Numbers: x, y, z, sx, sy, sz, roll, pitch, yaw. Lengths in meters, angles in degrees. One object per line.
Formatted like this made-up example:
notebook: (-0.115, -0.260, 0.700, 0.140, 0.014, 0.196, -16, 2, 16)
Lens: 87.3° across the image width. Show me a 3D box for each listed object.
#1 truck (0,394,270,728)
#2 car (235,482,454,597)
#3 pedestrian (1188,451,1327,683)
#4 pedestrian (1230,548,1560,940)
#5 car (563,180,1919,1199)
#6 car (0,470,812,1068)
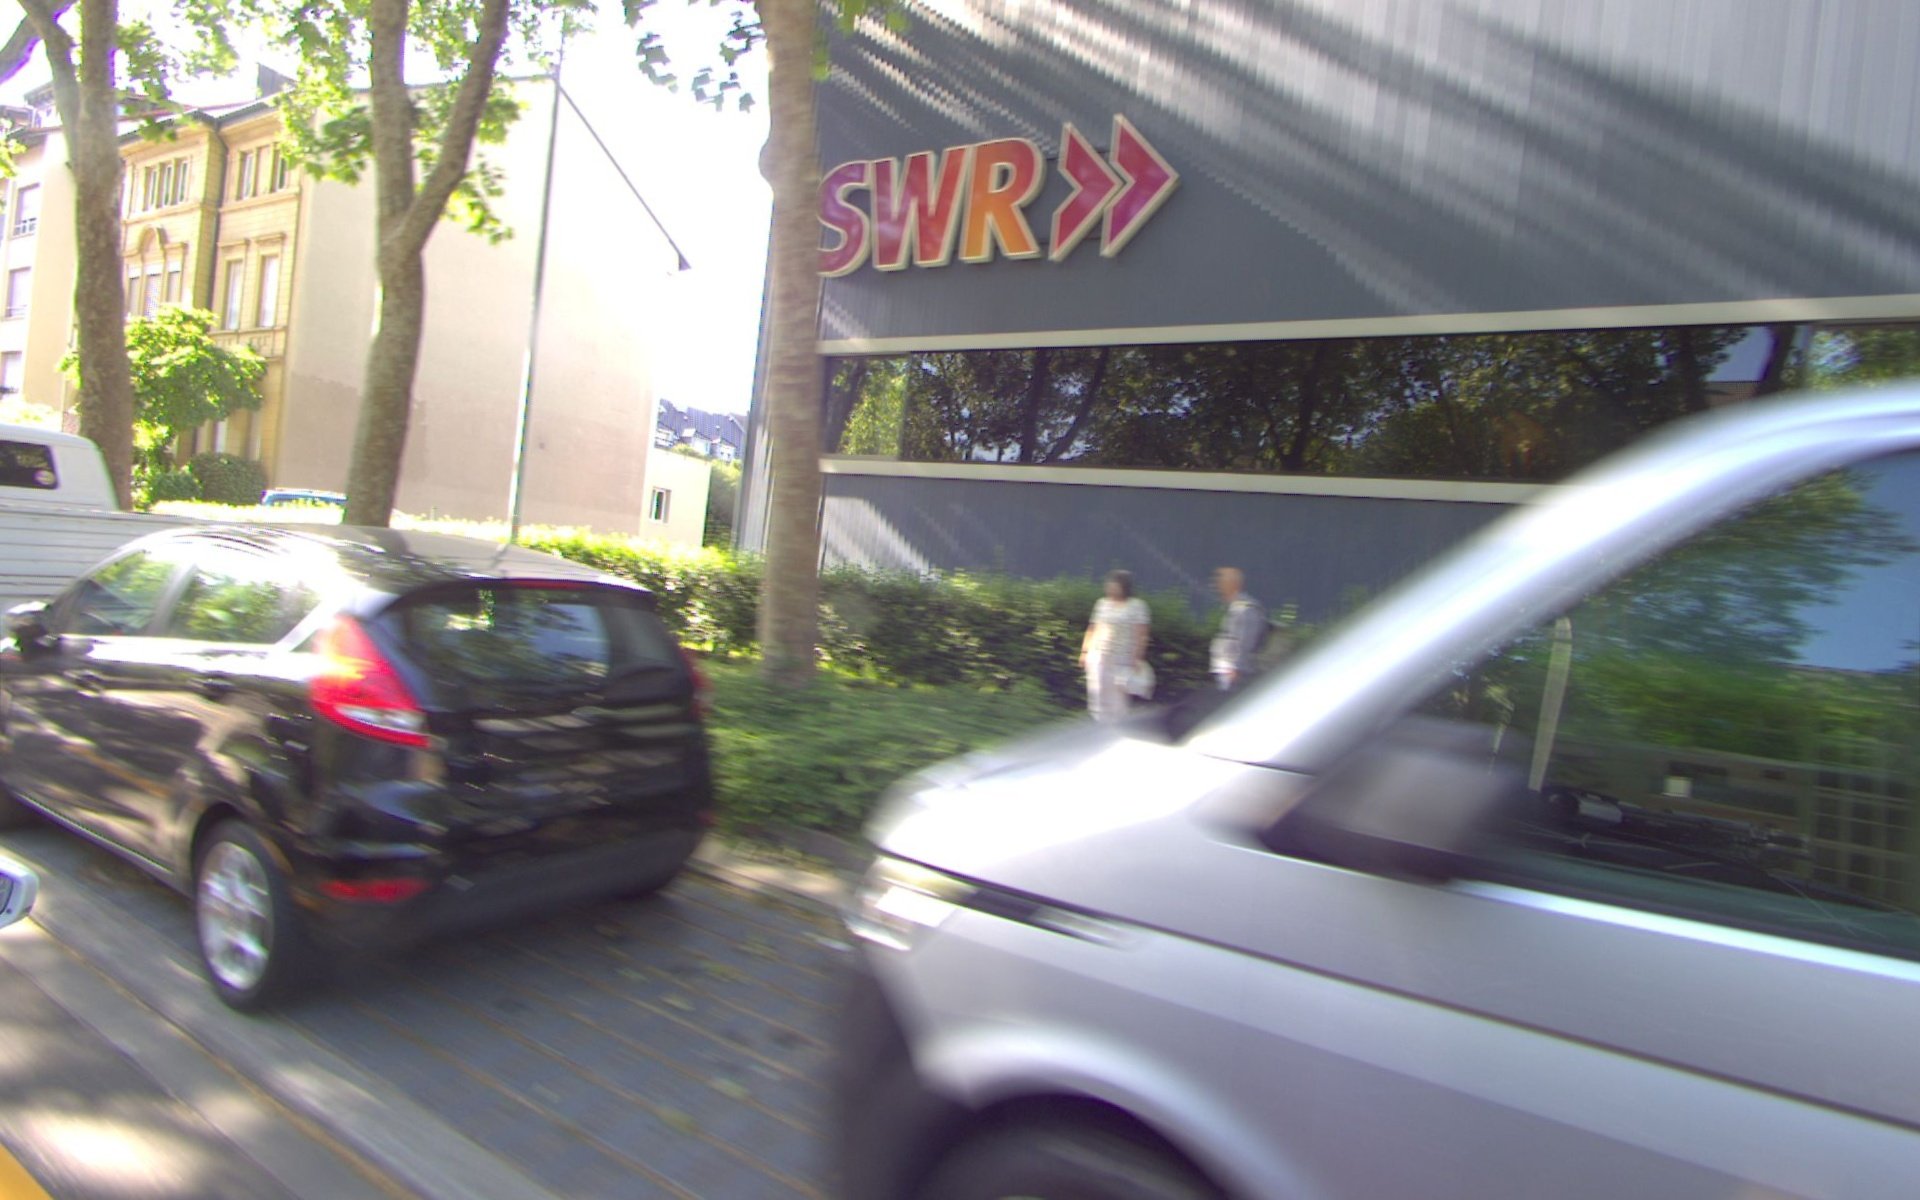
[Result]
truck: (-7.157, -0.398, 7.202, 4.379, 1.905, 1.879, 6, 1, 30)
car: (-13.192, -1.264, 21.720, 3.444, 1.875, 1.710, 8, -1, -2)
pedestrian: (2.362, -0.244, 7.943, 0.663, 1.668, 0.707, 10, 0, 28)
pedestrian: (2.142, 0.639, 5.001, 1.245, 1.622, 0.729, 7, 0, 28)
car: (2.019, 0.692, 1.555, 5.184, 1.970, 2.029, 7, 0, 31)
car: (-2.825, 0.347, 4.457, 4.034, 1.496, 1.749, 7, 0, 33)
